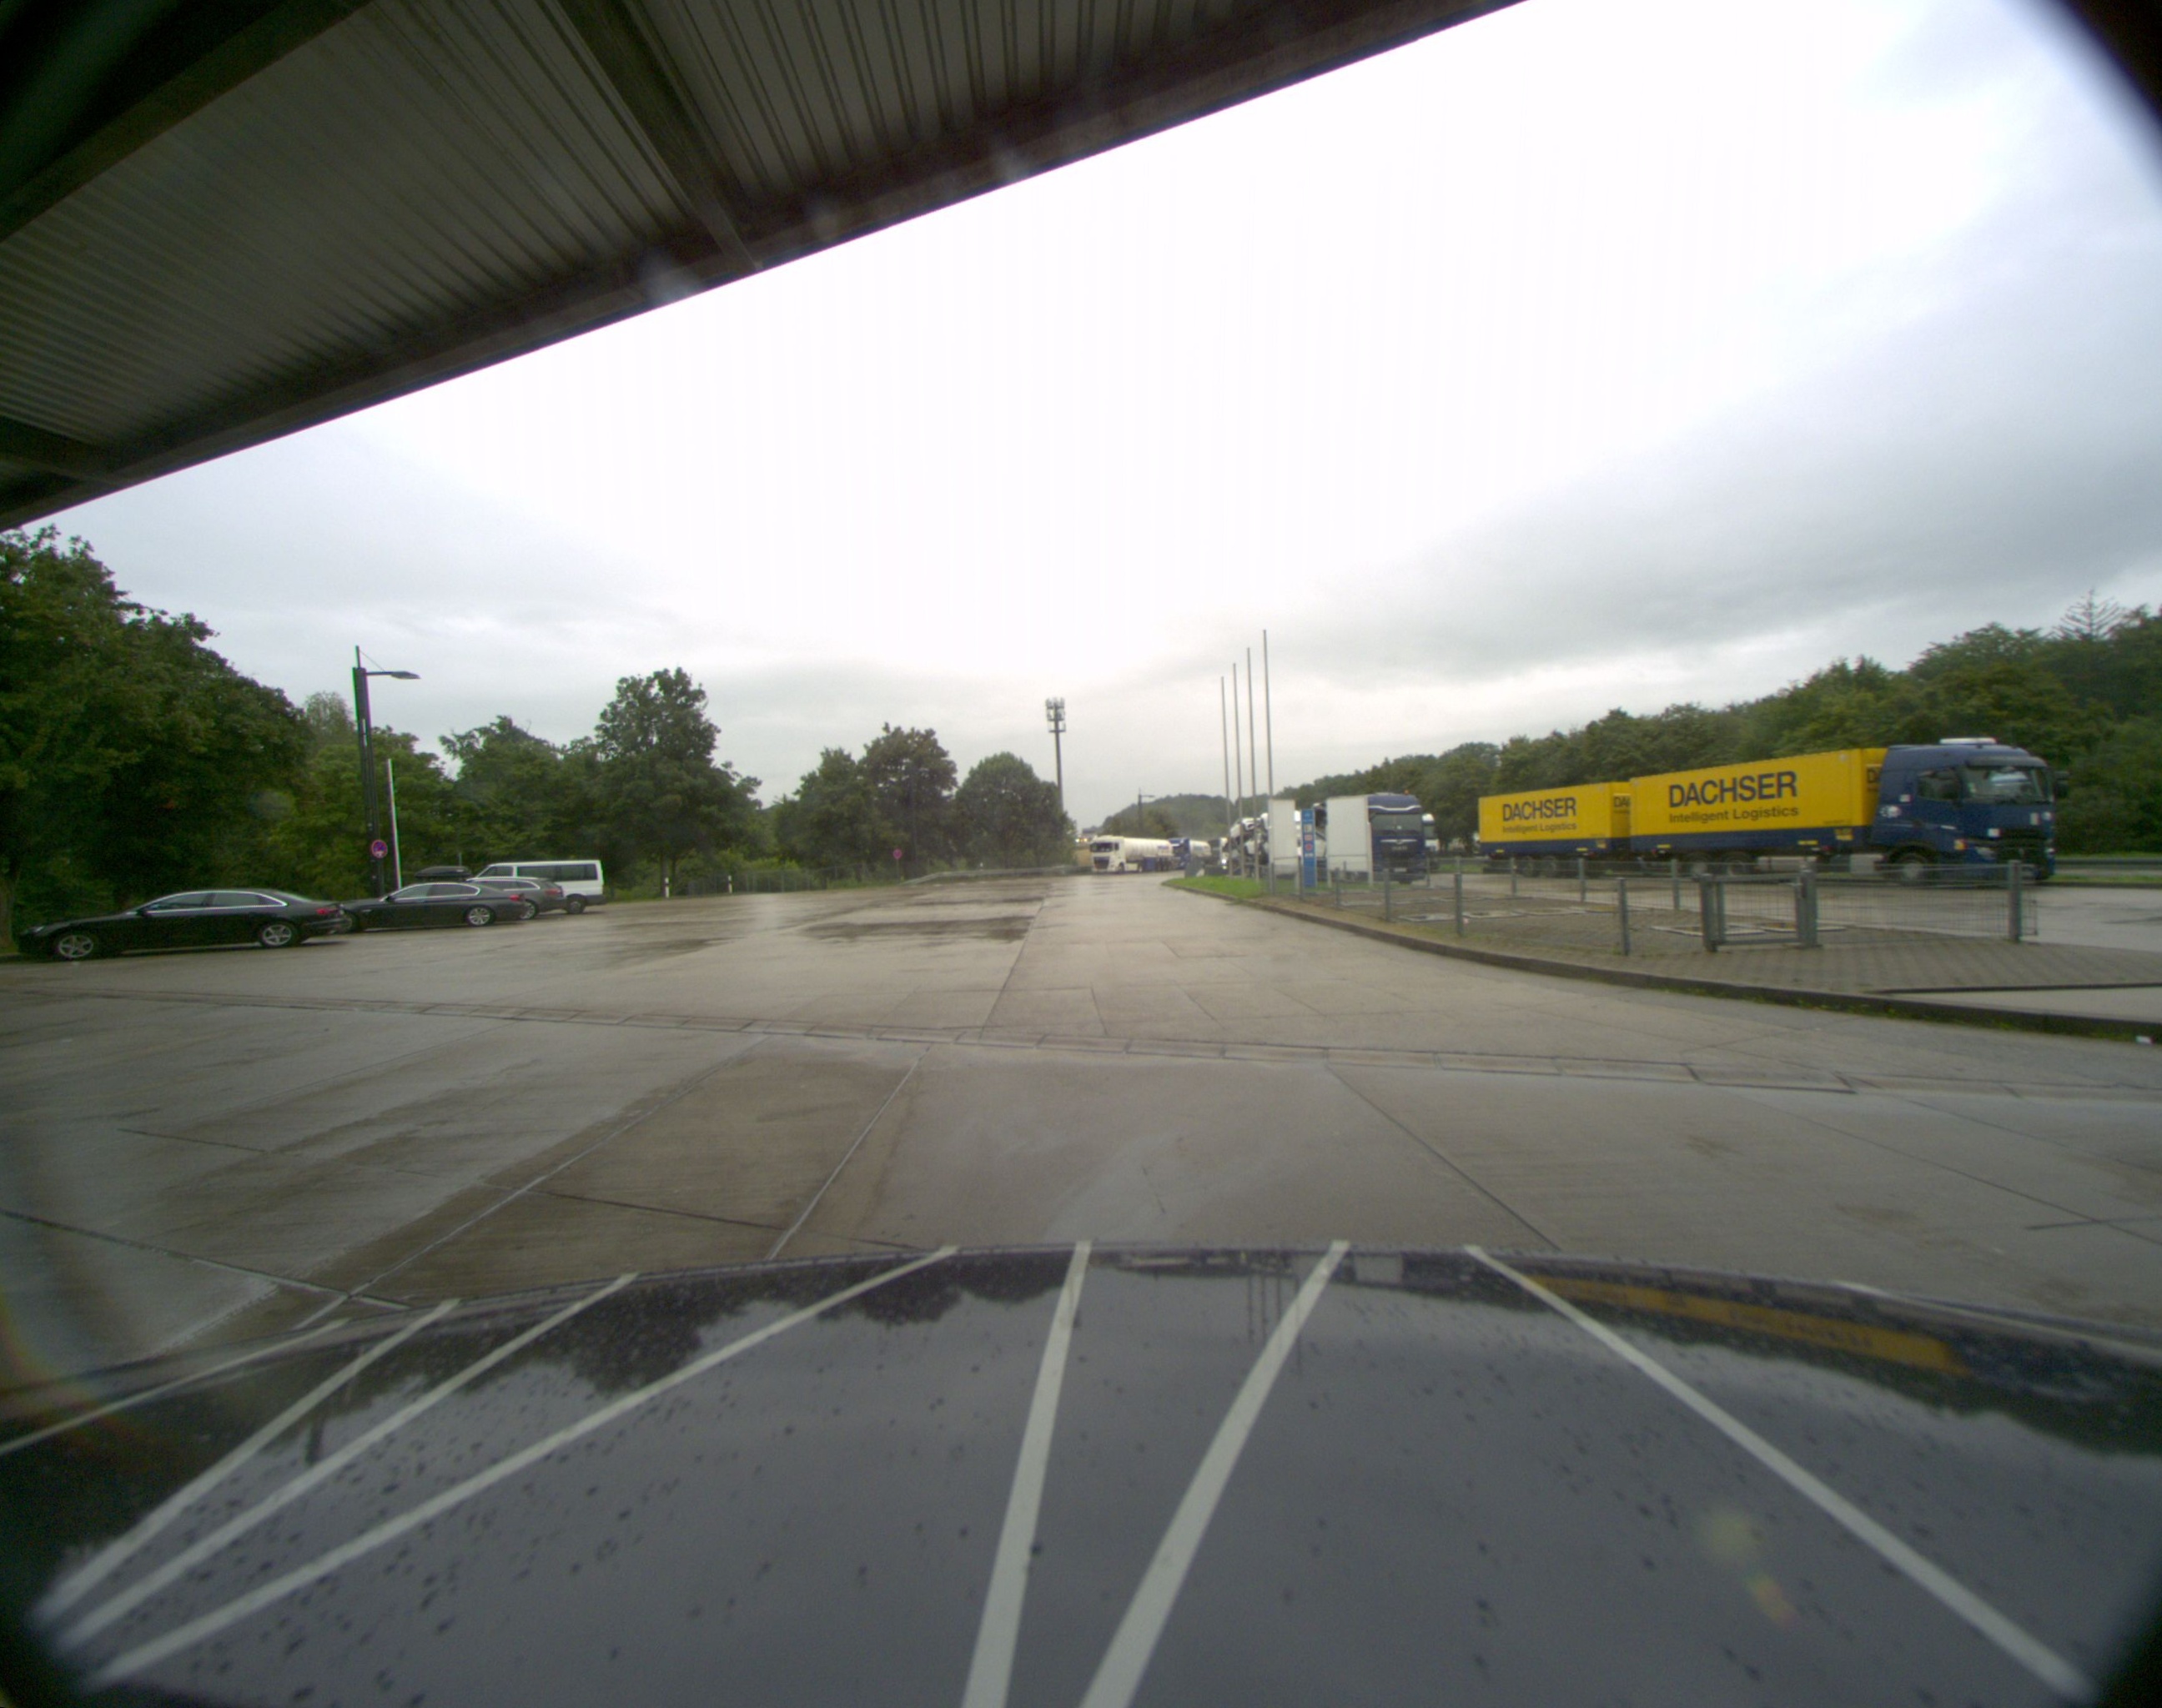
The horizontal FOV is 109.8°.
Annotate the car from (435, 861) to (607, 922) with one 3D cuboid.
[{"bbox_3d":[-20.428,1.292,27.996,4.898,1.938,2.310,-2,0,-35],"label":"car"}]

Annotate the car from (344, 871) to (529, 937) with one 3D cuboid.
[{"bbox_3d":[-18.877,1.398,22.508,4.007,1.650,1.596,-2,0,-35],"label":"car"}]

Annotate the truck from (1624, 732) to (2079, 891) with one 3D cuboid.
[{"bbox_3d":[23.153,-1.119,24.329,2.757,3.894,10.678,-2,1,-8],"label":"truck"}]

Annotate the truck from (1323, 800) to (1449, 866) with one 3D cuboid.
[{"bbox_3d":[19.881,-1.289,50.571,2.757,3.894,10.678,-2,1,-8],"label":"truck"}]

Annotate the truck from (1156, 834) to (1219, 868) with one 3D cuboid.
[{"bbox_3d":[12.779,-0.393,89.691,3.506,3.584,14.686,-2,0,23],"label":"truck"}]

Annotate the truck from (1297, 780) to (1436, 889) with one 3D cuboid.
[{"bbox_3d":[12.183,-0.789,33.182,2.665,4.157,7.103,-2,0,-6],"label":"truck"}]

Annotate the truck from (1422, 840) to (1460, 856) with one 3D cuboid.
[{"bbox_3d":[48.129,-0.805,101.805,2.000,2.002,4.929,-2,1,-11],"label":"truck"}]

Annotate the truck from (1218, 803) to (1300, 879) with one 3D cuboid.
[{"bbox_3d":[10.569,-0.718,45.780,2.665,4.157,6.618,-2,1,-6],"label":"truck"}]

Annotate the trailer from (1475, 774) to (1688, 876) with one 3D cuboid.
[{"bbox_3d":[21.791,-1.175,33.950,2.757,3.894,8.700,-2,1,-9],"label":"trailer"}]

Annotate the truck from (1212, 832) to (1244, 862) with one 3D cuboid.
[{"bbox_3d":[21.688,-1.075,112.779,3.143,4.105,11.523,-2,1,3],"label":"truck"}]

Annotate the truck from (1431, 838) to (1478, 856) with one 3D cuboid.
[{"bbox_3d":[45.357,-0.821,92.363,2.082,2.112,5.827,-2,1,-10],"label":"truck"}]

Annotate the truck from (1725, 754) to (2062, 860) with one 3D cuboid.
[{"bbox_3d":[33.910,-1.750,32.715,2.421,3.785,10.223,-2,1,-10],"label":"truck"}]

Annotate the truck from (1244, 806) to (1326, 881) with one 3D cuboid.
[{"bbox_3d":[11.045,-0.550,41.590,2.665,3.750,4.747,-2,1,-6],"label":"truck"}]

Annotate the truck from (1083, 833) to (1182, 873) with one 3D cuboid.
[{"bbox_3d":[5.452,-0.152,75.210,3.505,3.584,14.426,-2,0,31],"label":"truck"}]

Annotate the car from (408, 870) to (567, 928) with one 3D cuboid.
[{"bbox_3d":[-19.473,1.431,25.160,4.007,1.650,1.596,-2,0,-35],"label":"car"}]
